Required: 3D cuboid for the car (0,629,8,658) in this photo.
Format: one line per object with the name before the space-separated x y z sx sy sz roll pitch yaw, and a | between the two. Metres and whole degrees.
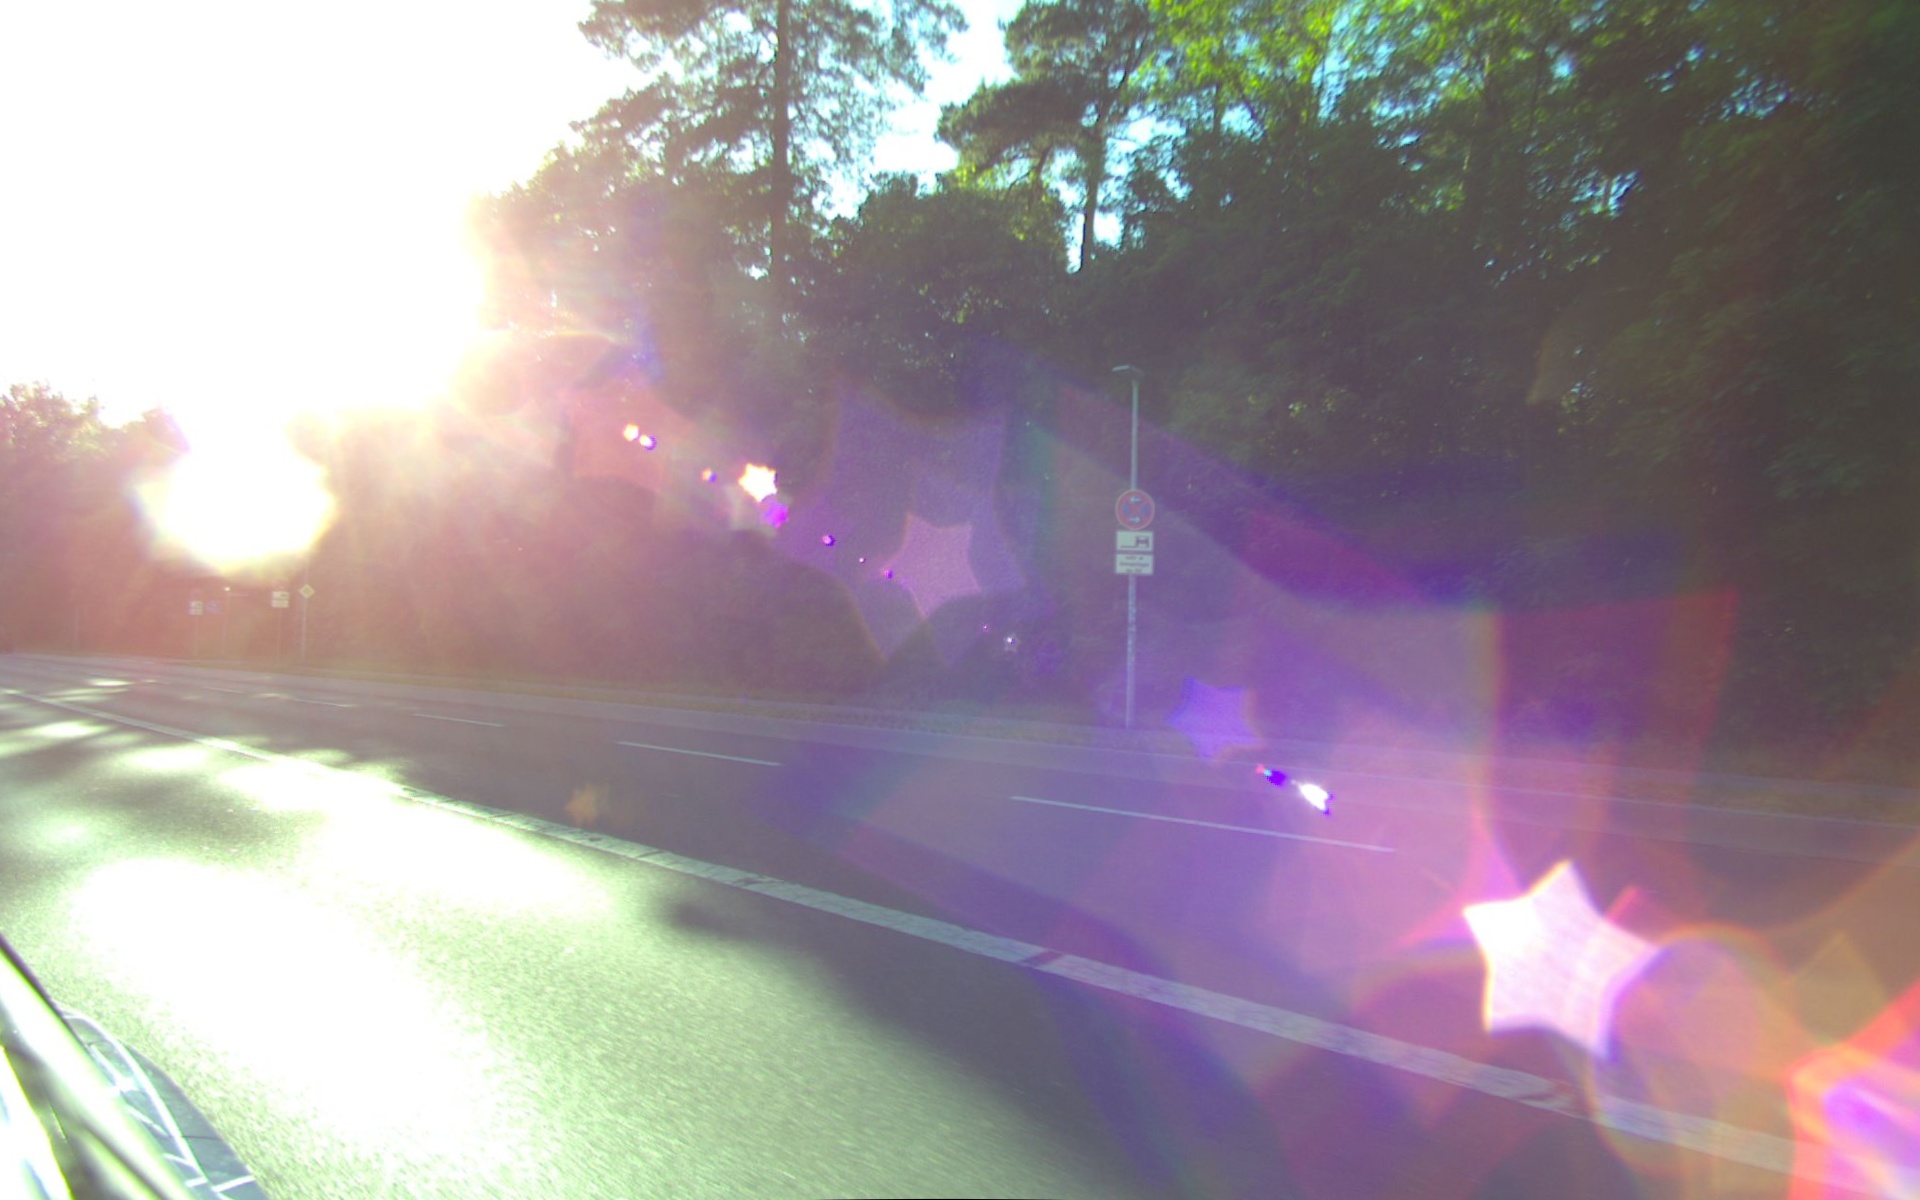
car | -50.379 2.225 51.941 4.167 1.492 1.641 -2 -2 39
